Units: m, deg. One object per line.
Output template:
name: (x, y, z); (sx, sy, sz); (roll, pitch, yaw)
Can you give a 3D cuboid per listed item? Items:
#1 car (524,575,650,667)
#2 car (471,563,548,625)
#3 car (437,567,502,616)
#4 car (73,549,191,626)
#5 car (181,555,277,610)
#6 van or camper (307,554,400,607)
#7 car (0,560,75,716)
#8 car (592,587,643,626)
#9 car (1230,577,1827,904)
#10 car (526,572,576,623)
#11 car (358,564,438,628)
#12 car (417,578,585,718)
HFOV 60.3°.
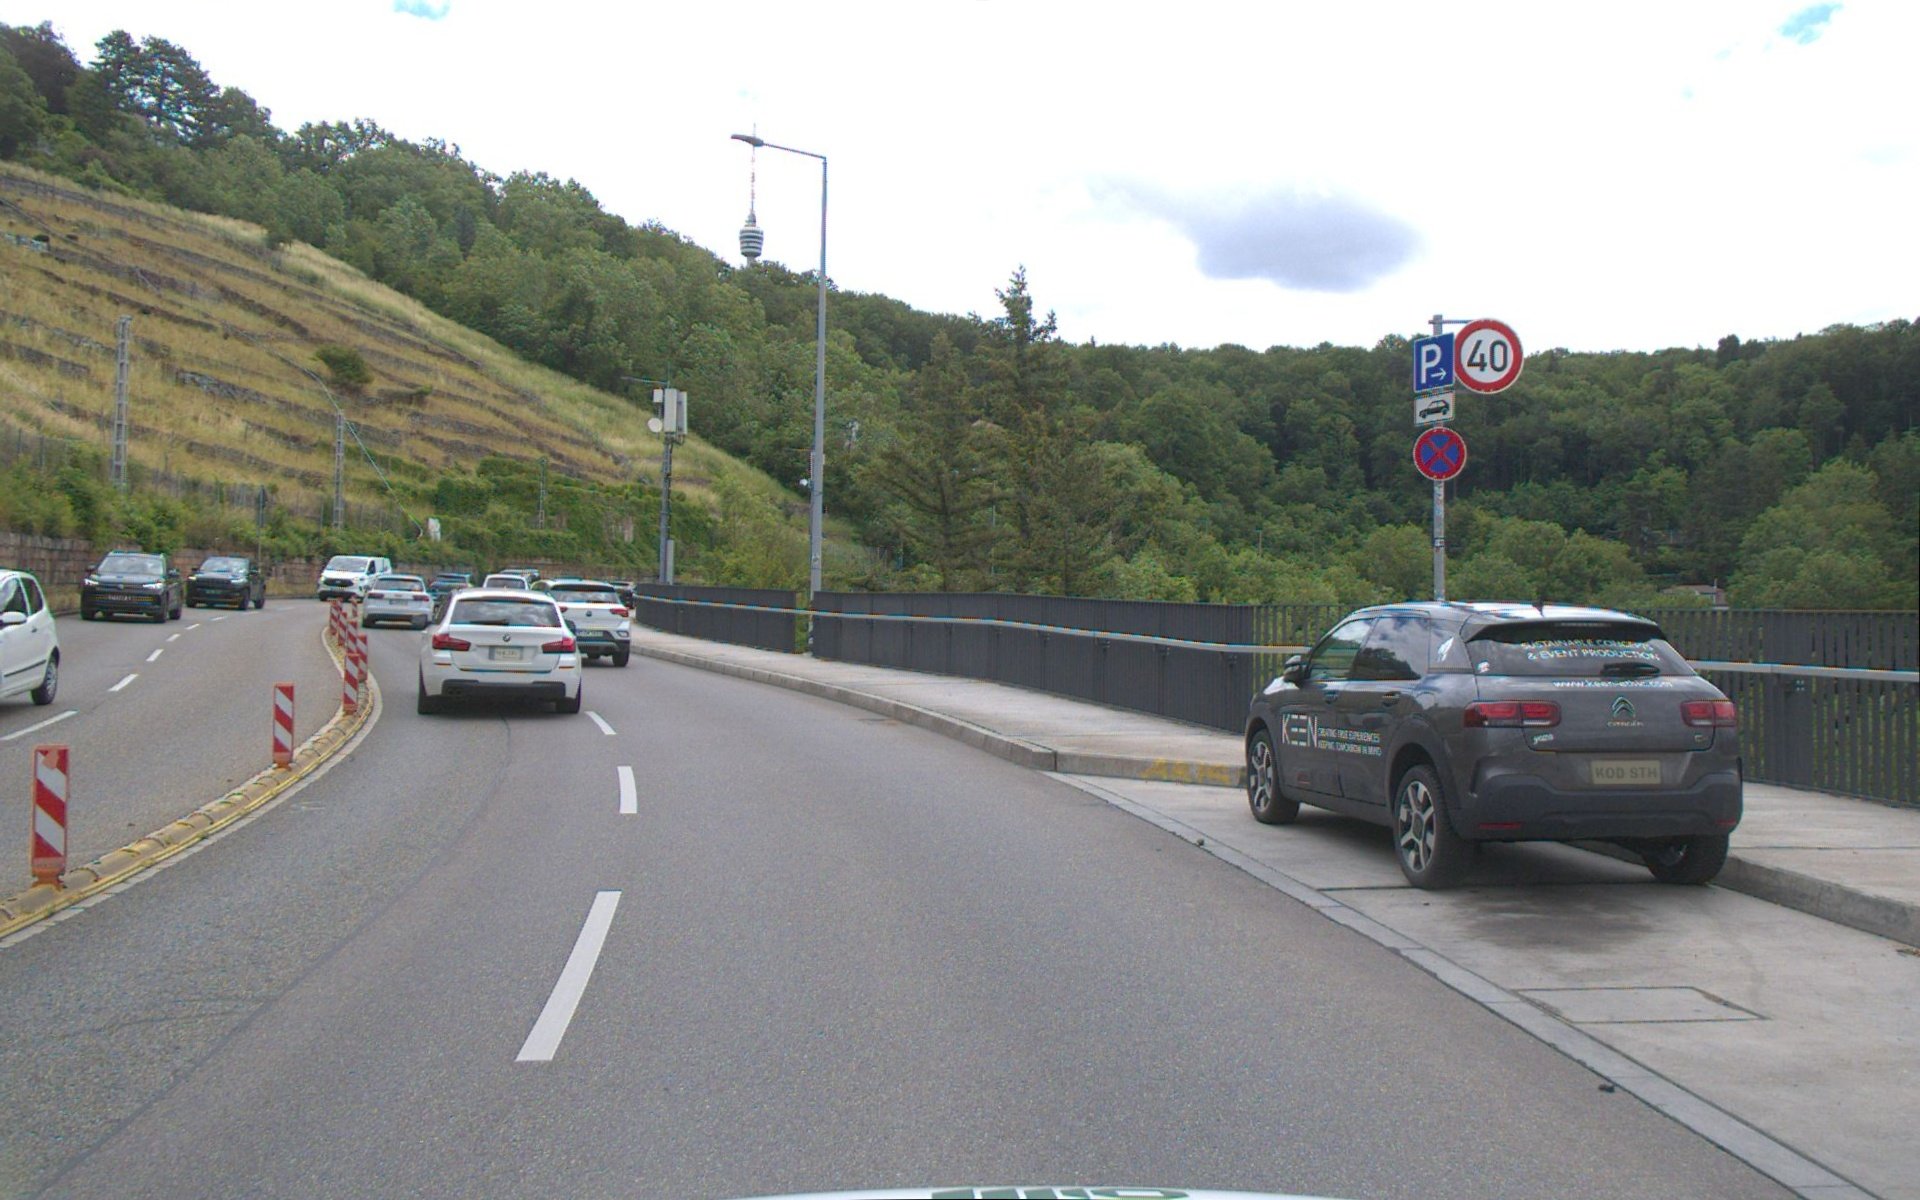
car: (-7.186, 0.366, 31.600); (1.802, 1.634, 3.974); (0, 0, -21)
car: (-14.402, -0.157, 52.725); (1.965, 1.748, 4.087); (-2, -2, -21)
car: (-19.283, -0.303, 65.145); (1.958, 1.677, 3.989); (-2, -2, -10)
car: (-20.493, -0.301, 41.122); (1.813, 1.756, 4.442); (1, 0, -17)
car: (-23.687, -0.554, 53.759); (1.831, 1.652, 4.337); (2, 0, -10)
van or camper: (-26.081, -0.882, 71.335); (2.104, 2.051, 4.965); (-1, 3, 0)
car: (-10.859, 0.392, 17.716); (1.674, 1.576, 3.981); (-1, 0, -17)
car: (-17.916, 0.371, 86.641); (1.831, 1.793, 3.999); (0, -3, 0)
car: (3.126, 0.695, 10.091); (1.839, 1.570, 4.083); (1, 0, -7)
car: (-17.111, -0.070, 69.277); (1.959, 2.049, 3.986); (-1, -1, -13)
car: (-15.694, -0.078, 46.357); (1.963, 1.529, 4.643); (-2, -2, -18)
car: (-5.706, 0.502, 20.620); (1.798, 1.485, 4.467); (0, 1, -16)
